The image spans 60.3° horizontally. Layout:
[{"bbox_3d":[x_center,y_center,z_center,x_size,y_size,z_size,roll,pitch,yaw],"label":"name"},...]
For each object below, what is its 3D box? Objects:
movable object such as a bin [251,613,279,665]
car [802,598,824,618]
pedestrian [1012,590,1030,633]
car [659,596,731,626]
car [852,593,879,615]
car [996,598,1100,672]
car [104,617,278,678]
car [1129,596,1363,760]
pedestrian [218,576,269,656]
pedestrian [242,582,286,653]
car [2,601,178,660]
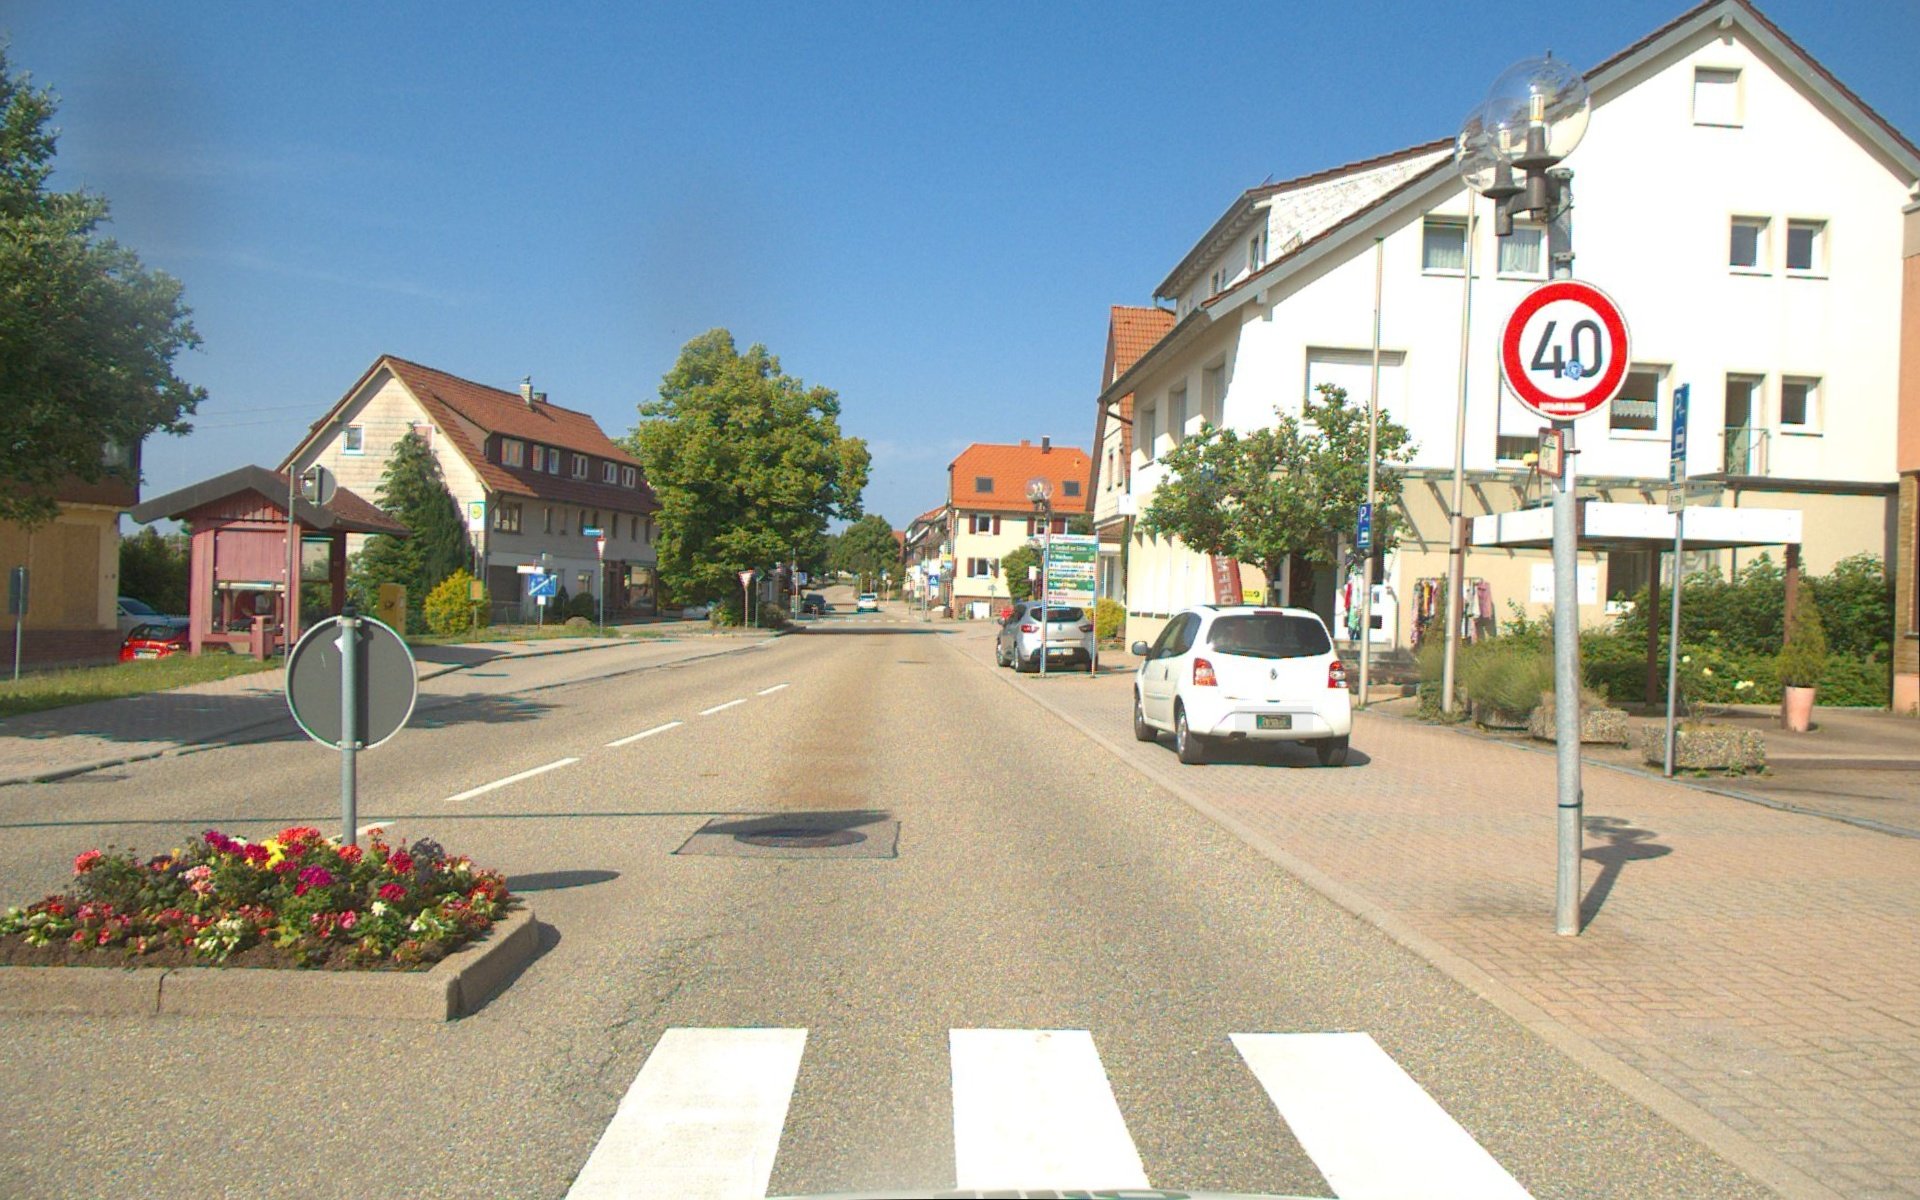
[{"bbox_3d":[-11.511,0.638,27.395,0.299,0.852,0.485,0,0,-5],"label":"movable object such as a bin"},{"bbox_3d":[-12.520,0.695,140.838,1.640,1.559,3.533,5,0,-3],"label":"car"},{"bbox_3d":[2.649,0.493,71.674,0.783,1.815,0.980,0,0,2],"label":"pedestrian"},{"bbox_3d":[-15.152,0.636,94.762,3.679,1.480,1.818,-1,-5,9],"label":"car"},{"bbox_3d":[-9.112,0.357,159.486,2.446,2.049,4.301,-1,0,-4],"label":"car"},{"bbox_3d":[1.808,0.707,35.233,1.604,1.444,3.930,-1,0,-6],"label":"car"},{"bbox_3d":[-18.273,1.098,39.497,1.684,1.320,4.004,-1,0,12],"label":"car"},{"bbox_3d":[2.788,0.705,16.850,1.724,1.448,3.633,-1,0,0],"label":"car"},{"bbox_3d":[-12.863,0.281,29.699,0.605,1.388,0.674,-1,1,-4],"label":"pedestrian"},{"bbox_3d":[-12.763,0.318,30.343,0.617,1.275,0.423,-1,0,-5],"label":"pedestrian"},{"bbox_3d":[-25.280,0.882,48.123,4.210,1.538,1.801,2,-2,7],"label":"car"}]
